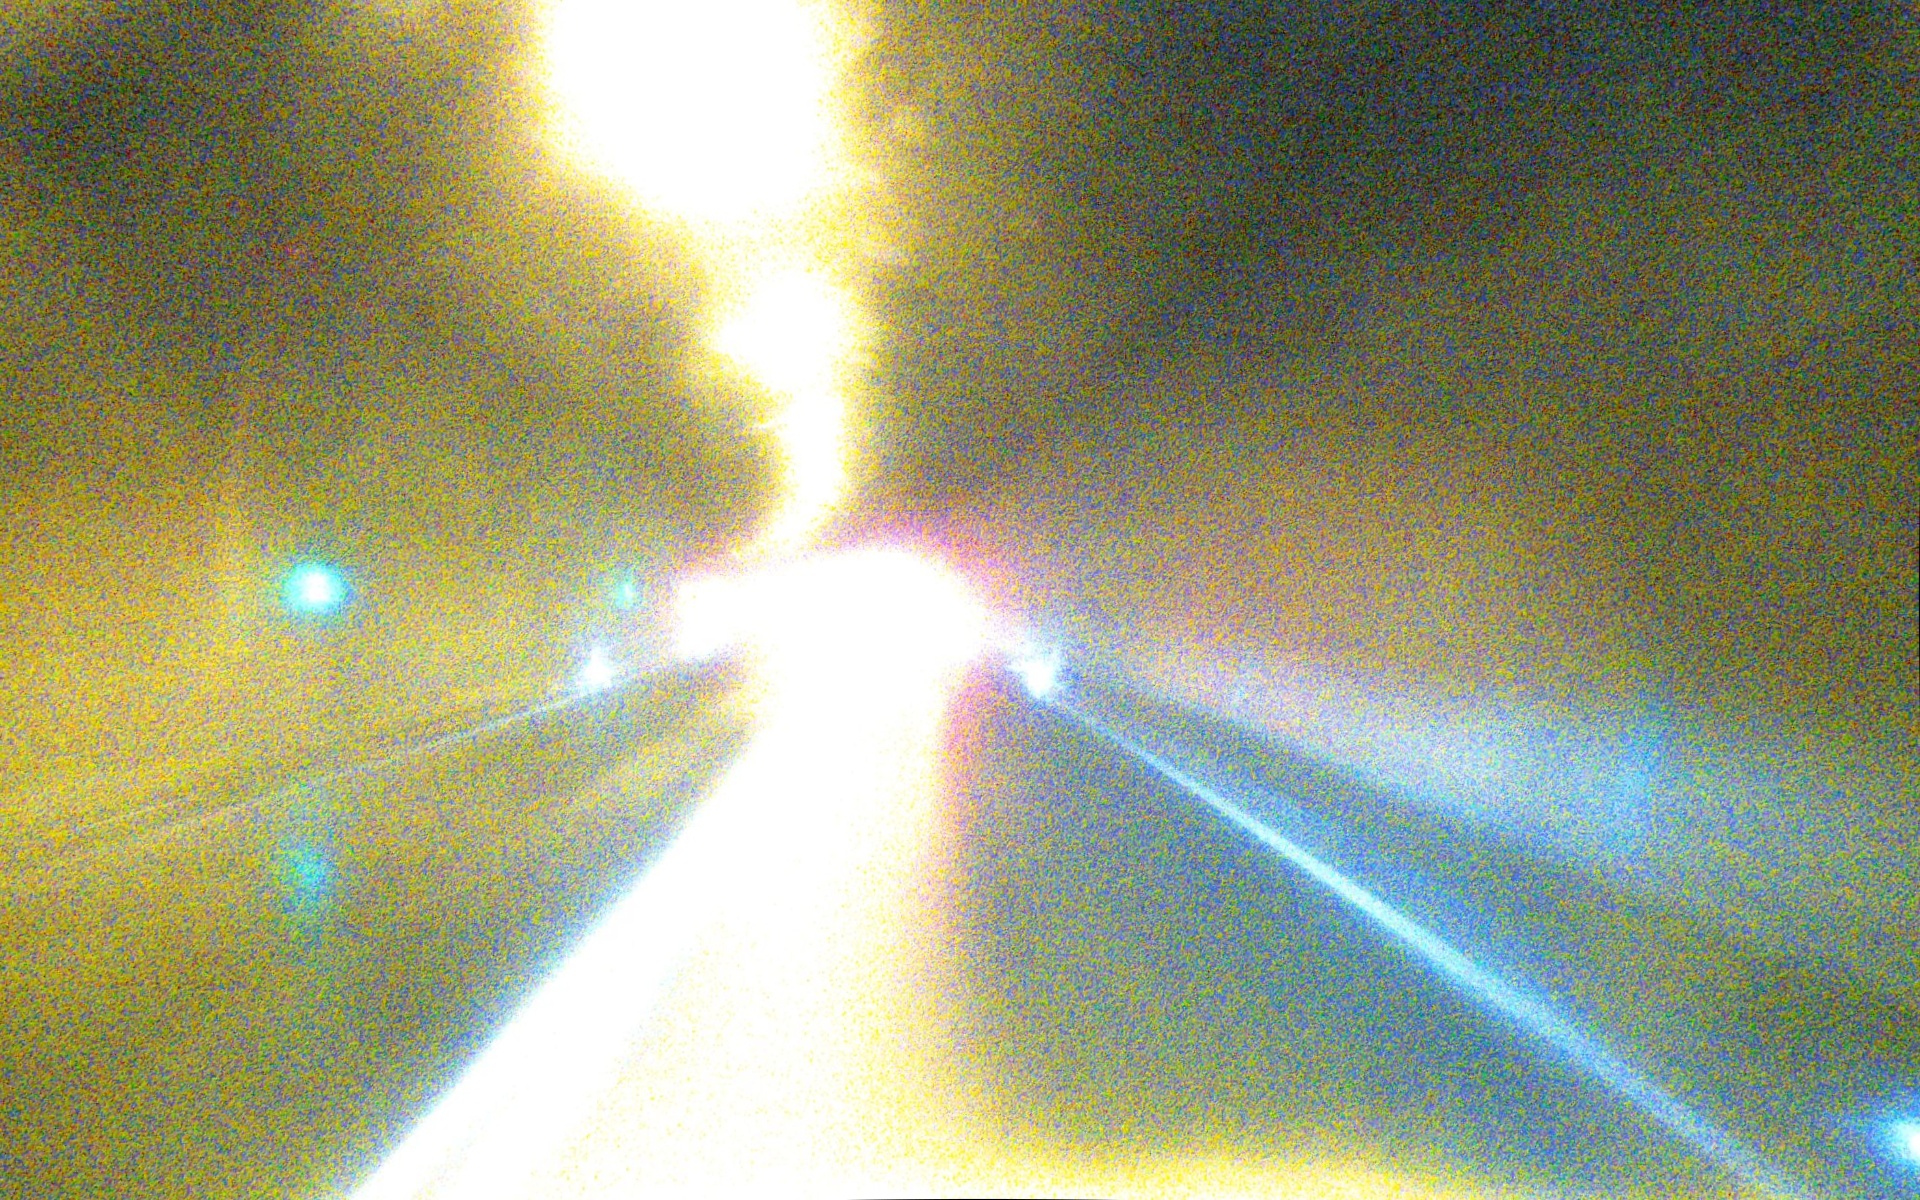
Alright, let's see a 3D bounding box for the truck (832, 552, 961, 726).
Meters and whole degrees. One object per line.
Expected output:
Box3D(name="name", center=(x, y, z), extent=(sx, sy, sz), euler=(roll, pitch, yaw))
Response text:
Box3D(name="truck", center=(-1.253, 0.700, 33.645), extent=(2.216, 3.063, 7.412), euler=(2, 0, -2))
